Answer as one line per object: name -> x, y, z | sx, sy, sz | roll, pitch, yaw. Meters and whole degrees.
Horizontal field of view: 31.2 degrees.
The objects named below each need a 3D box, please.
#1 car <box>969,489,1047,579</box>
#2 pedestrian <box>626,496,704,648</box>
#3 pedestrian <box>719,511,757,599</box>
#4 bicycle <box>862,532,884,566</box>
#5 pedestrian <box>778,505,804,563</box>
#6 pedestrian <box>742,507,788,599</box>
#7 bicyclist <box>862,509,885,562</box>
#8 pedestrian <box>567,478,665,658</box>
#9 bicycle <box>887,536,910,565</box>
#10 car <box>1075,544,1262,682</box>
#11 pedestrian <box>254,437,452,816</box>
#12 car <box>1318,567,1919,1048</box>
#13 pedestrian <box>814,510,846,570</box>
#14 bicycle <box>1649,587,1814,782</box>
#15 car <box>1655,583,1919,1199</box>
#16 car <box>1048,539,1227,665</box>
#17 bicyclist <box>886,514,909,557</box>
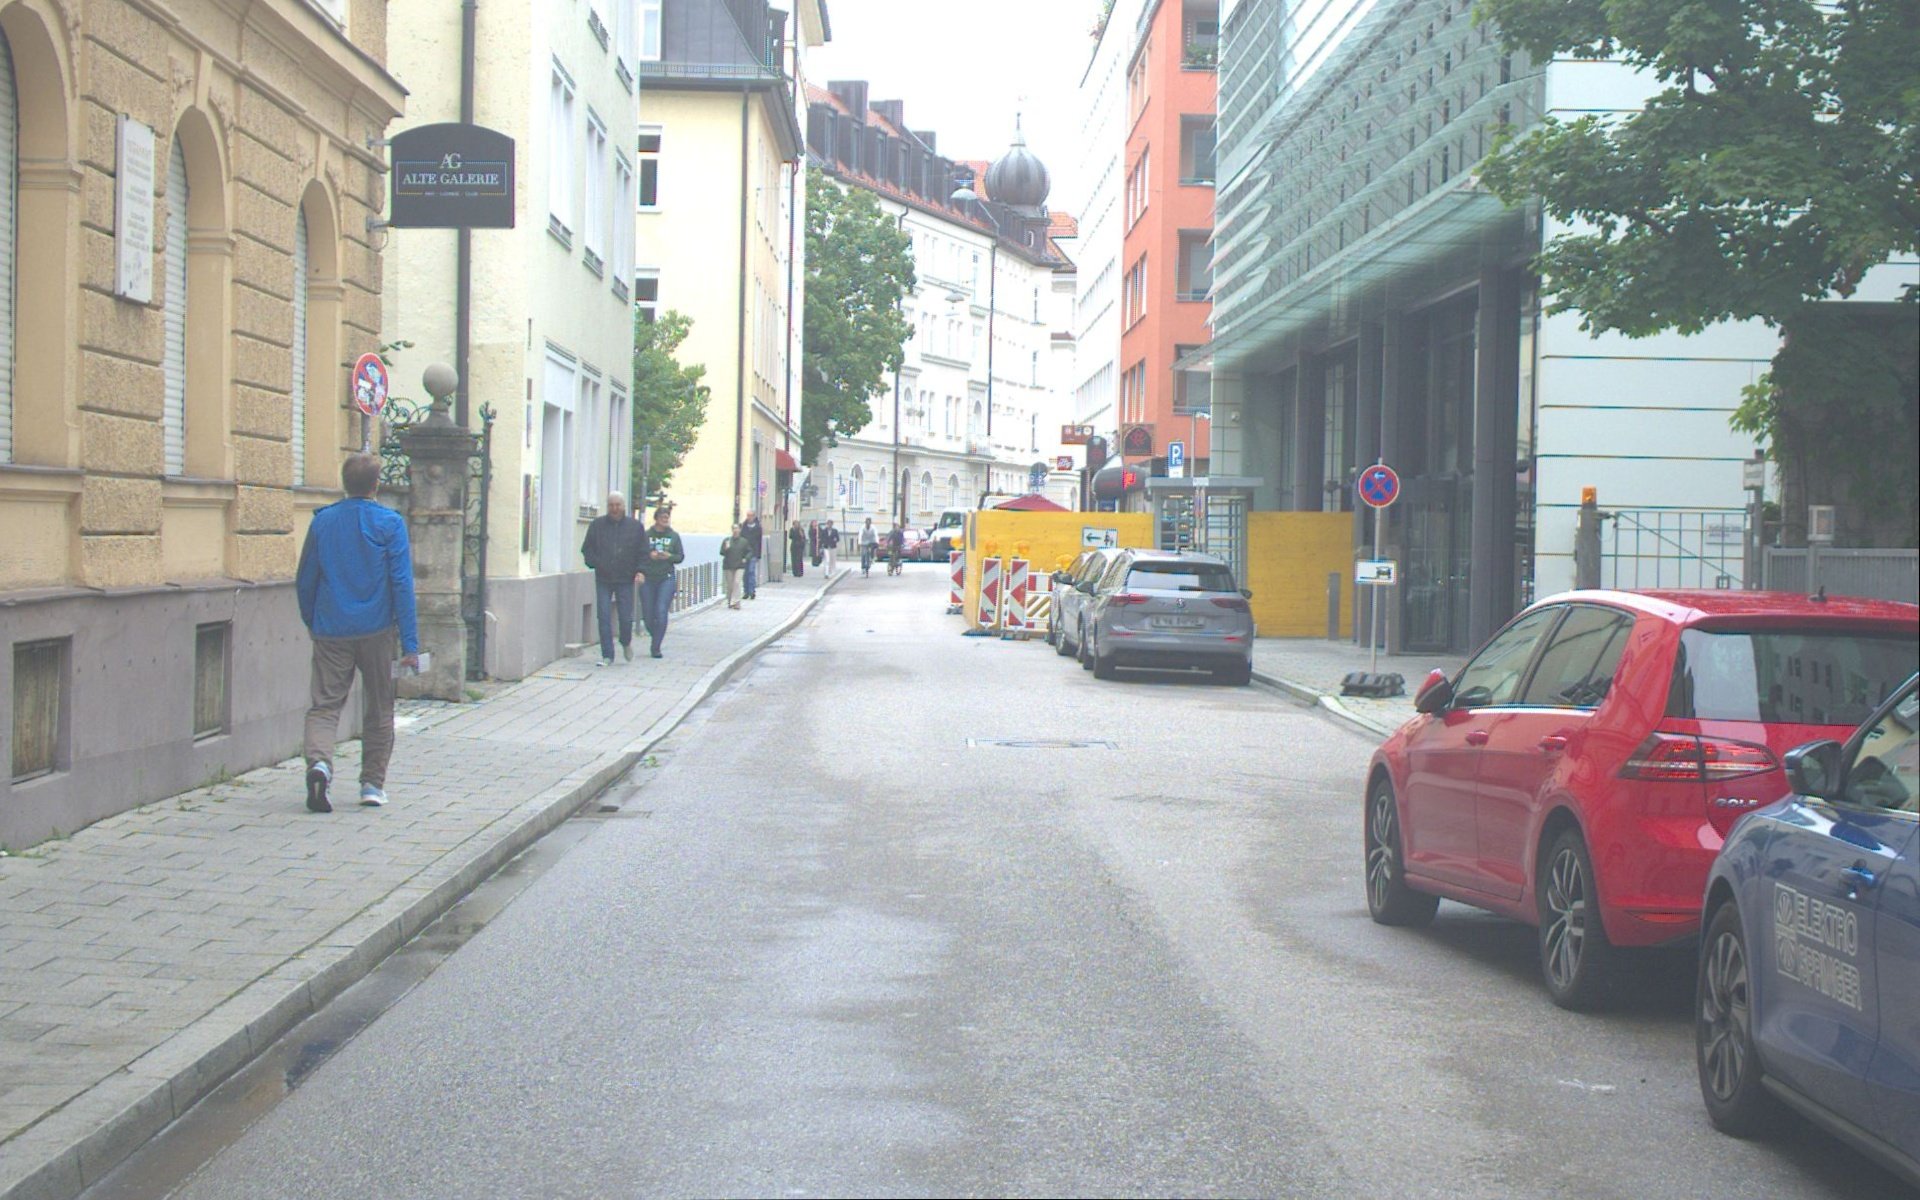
car -> 1.401, -1.952, 101.730 | 1.993, 2.528, 4.976 | 2, 1, -2
pedestrian -> -3.335, -0.322, 38.936 | 0.712, 1.660, 0.930 | 4, 1, -1
pedestrian -> -4.275, -0.864, 66.182 | 0.647, 1.670, 0.724 | 2, 1, -2
bicycle -> -2.713, -1.587, 107.527 | 0.661, 1.035, 2.005 | 1, 1, -1
pedestrian -> -4.885, -1.915, 99.374 | 0.670, 1.642, 0.761 | 2, 1, -2
pedestrian -> -4.104, -0.992, 72.361 | 0.867, 1.875, 1.135 | 2, 1, -2
bicyclist -> -2.703, -2.010, 107.409 | 0.659, 1.637, 0.895 | 1, 1, -1
pedestrian -> -3.587, -0.340, 35.873 | 0.905, 1.821, 0.956 | 2, 1, -2
bicycle -> -1.988, -1.588, 110.411 | 0.707, 0.902, 1.809 | 1, 1, -1
car -> 2.318, 0.108, 39.177 | 1.708, 1.427, 4.330 | 1, 1, -2
pedestrian -> -3.091, 0.123, 17.597 | 0.757, 1.848, 1.077 | 3, 1, -1
car -> 2.736, 0.663, 13.150 | 1.760, 1.442, 4.300 | 3, 1, -7
pedestrian -> -3.750, -1.725, 99.233 | 0.839, 1.694, 0.803 | 2, 1, -1
bicycle -> 5.410, 0.568, 24.204 | 0.707, 1.194, 1.834 | 1, 4, 0
car -> 2.883, 0.746, 7.541 | 1.794, 1.433, 4.383 | 3, 1, 0
car -> 2.239, -0.014, 44.470 | 1.707, 1.462, 4.238 | 3, 1, -4
bicyclist -> -1.998, -2.075, 110.597 | 0.707, 1.366, 0.813 | 1, 1, -1
